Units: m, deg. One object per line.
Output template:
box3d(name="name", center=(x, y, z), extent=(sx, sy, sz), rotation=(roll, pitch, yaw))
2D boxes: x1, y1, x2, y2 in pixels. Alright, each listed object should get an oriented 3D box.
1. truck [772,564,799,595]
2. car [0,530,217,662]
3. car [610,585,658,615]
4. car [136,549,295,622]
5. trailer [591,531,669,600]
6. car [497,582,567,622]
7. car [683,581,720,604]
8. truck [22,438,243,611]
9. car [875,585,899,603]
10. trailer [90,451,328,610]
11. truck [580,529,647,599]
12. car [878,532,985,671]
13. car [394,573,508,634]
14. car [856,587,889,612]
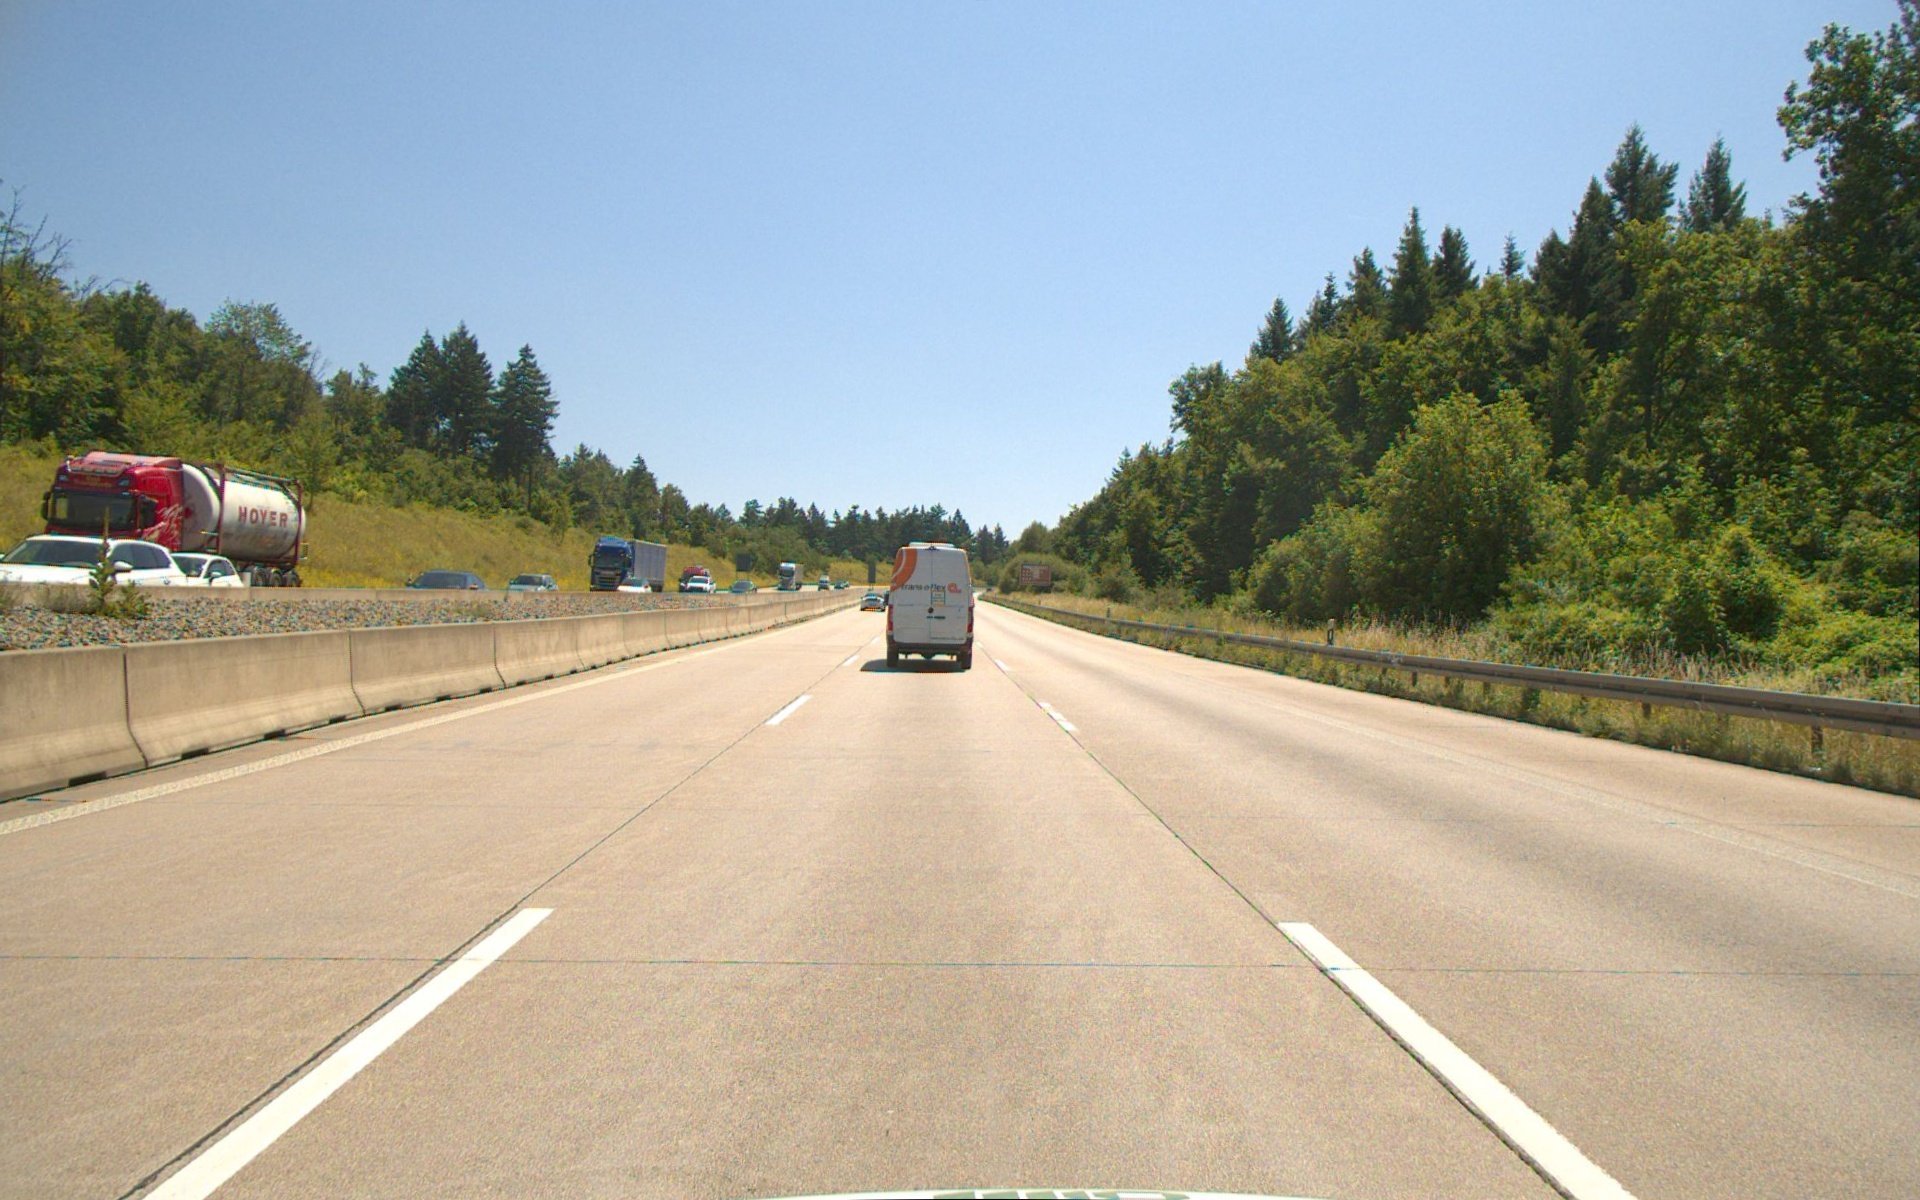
box3d(name="truck", center=(-27.152, -3.122, 257.438), extent=(3.190, 4.583, 7.984), rotation=(2, 0, -1))
box3d(name="car", center=(-14.095, -0.077, 26.708), extent=(1.953, 1.906, 4.967), rotation=(2, 0, -1))
box3d(name="car", center=(-19.262, -0.004, 97.770), extent=(1.953, 1.610, 4.528), rotation=(2, 0, -1))
box3d(name="car", center=(-17.915, -0.336, 40.044), extent=(1.953, 1.610, 4.179), rotation=(2, 0, -1))
box3d(name="trailer", center=(-23.951, -2.390, 120.728), extent=(3.191, 4.583, 13.733), rotation=(2, 0, -2))
box3d(name="car", center=(-18.796, 0.087, 72.785), extent=(1.953, 1.610, 4.429), rotation=(2, 0, -1))
box3d(name="car", center=(-19.497, -0.549, 125.065), extent=(1.953, 1.610, 5.518), rotation=(2, 0, -1))
box3d(name="truck", center=(-22.255, -1.907, 44.889), extent=(2.874, 4.241, 5.981), rotation=(2, 0, -1))
box3d(name="car", center=(-7.383, -0.625, 167.338), extent=(1.952, 1.713, 4.001), rotation=(2, 0, 3))
box3d(name="trailer", center=(-22.332, -1.899, 49.938), extent=(2.874, 4.241, 9.333), rotation=(2, 0, -1))
box3d(name="truck", center=(-23.719, -2.396, 113.577), extent=(3.191, 4.583, 6.572), rotation=(2, 0, -2))
box3d(name="car", center=(-0.691, -0.002, 38.320), extent=(2.182, 2.893, 5.452), rotation=(3, 1, -2))
box3d(name="car", center=(-14.775, 0.093, 48.238), extent=(1.953, 1.610, 4.463), rotation=(2, 0, -1))
box3d(name="car", center=(-6.458, -0.038, 122.665), extent=(1.952, 1.713, 4.001), rotation=(2, 0, 3))
